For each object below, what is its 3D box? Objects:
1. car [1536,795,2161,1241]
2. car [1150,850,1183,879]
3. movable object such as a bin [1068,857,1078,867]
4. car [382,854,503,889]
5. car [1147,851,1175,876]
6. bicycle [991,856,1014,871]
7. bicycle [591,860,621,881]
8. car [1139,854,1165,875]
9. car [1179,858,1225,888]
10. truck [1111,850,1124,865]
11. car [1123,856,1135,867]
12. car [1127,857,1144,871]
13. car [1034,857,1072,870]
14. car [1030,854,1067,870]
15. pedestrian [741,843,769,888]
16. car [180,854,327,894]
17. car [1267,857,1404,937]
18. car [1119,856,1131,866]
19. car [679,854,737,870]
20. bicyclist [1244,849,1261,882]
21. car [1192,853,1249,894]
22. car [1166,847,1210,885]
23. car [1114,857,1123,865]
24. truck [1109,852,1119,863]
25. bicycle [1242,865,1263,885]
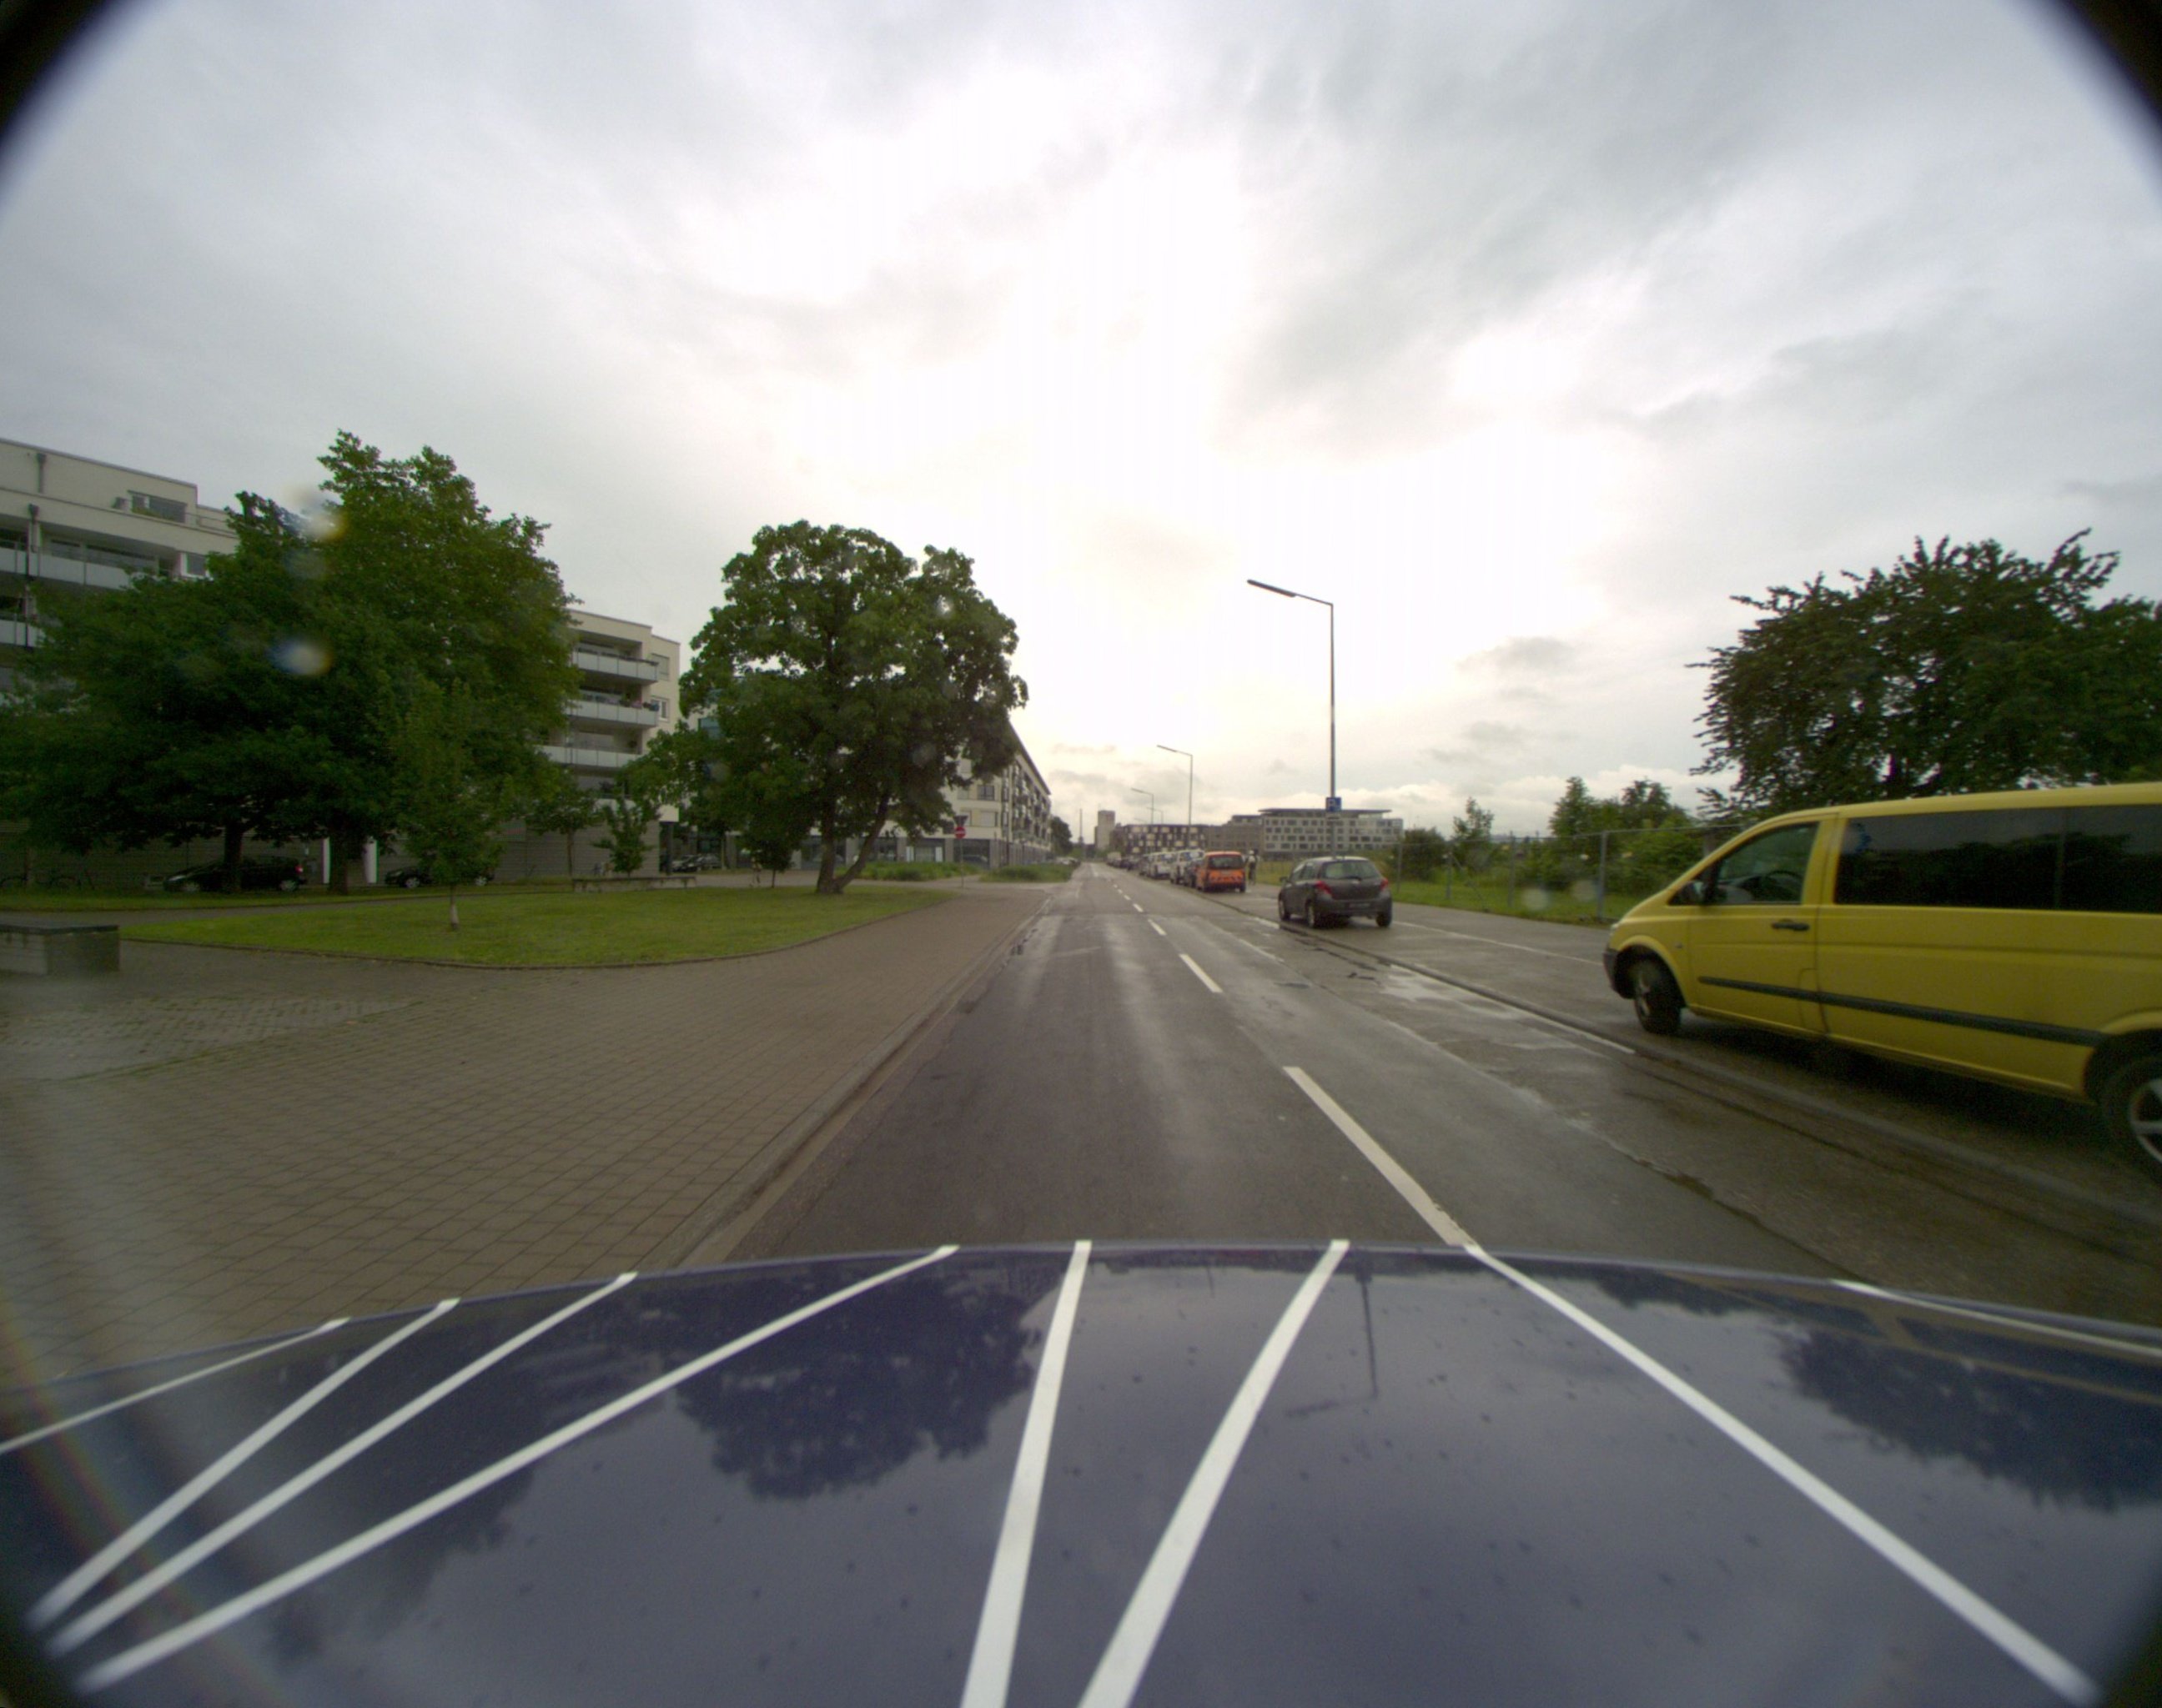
[{"bbox_3d":[5.718,0.682,4.838,2.022,1.945,6.065,-2,0,1],"label":"car"},{"bbox_3d":[6.423,0.785,57.354,1.964,2.046,5.274,-1,0,1],"label":"car"},{"bbox_3d":[-1.263,1.285,122.976,1.499,1.484,1.156,3,0,1],"label":"movable object such as a bin"},{"bbox_3d":[-29.977,0.783,35.785,1.729,1.539,4.130,0,0,40],"label":"car"},{"bbox_3d":[6.607,0.784,63.510,1.899,2.002,5.258,0,0,1],"label":"car"},{"bbox_3d":[-7.885,0.951,76.049,2.189,1.513,0.631,1,0,21],"label":"bicycle"},{"bbox_3d":[-25.654,0.872,41.032,2.477,1.081,0.728,0,0,42],"label":"bicycle"},{"bbox_3d":[6.529,0.959,70.484,1.960,1.890,4.995,0,0,1],"label":"car"},{"bbox_3d":[6.378,0.963,40.409,1.688,1.493,4.892,0,0,0],"label":"car"},{"bbox_3d":[7.640,0.664,161.451,2.442,3.050,6.700,-1,0,0],"label":"truck"},{"bbox_3d":[7.396,1.199,116.960,1.756,1.683,4.882,0,0,4],"label":"car"},{"bbox_3d":[6.843,1.234,95.193,1.851,1.552,4.152,-2,0,1],"label":"car"},{"bbox_3d":[-3.353,1.151,91.142,4.420,1.397,1.910,2,0,0],"label":"car"},{"bbox_3d":[-3.643,0.934,86.150,4.100,1.614,1.966,2,0,-1],"label":"car"},{"bbox_3d":[-14.599,0.512,34.044,0.967,2.002,0.623,0,0,1],"label":"pedestrian"},{"bbox_3d":[-33.889,0.786,31.206,1.729,1.539,4.009,0,0,40],"label":"car"},{"bbox_3d":[5.703,0.895,17.541,1.808,1.552,4.033,-3,0,1],"label":"car"},{"bbox_3d":[7.010,1.159,122.578,1.757,1.581,4.134,0,0,1],"label":"car"},{"bbox_3d":[-33.196,0.689,67.690,1.809,1.424,4.531,0,0,24],"label":"car"},{"bbox_3d":[9.570,0.644,42.431,0.700,1.819,1.008,-1,0,1],"label":"bicyclist"},{"bbox_3d":[6.222,0.821,34.337,1.944,1.757,4.332,0,0,2],"label":"car"},{"bbox_3d":[6.483,0.722,46.690,1.947,2.223,5.558,0,0,0],"label":"car"},{"bbox_3d":[7.563,1.408,153.689,1.676,1.454,4.157,0,0,1],"label":"car"},{"bbox_3d":[7.957,0.842,181.557,2.180,2.591,6.132,0,0,1],"label":"truck"},{"bbox_3d":[9.572,1.168,42.463,0.718,1.036,2.145,-1,0,1],"label":"bicycle"}]
